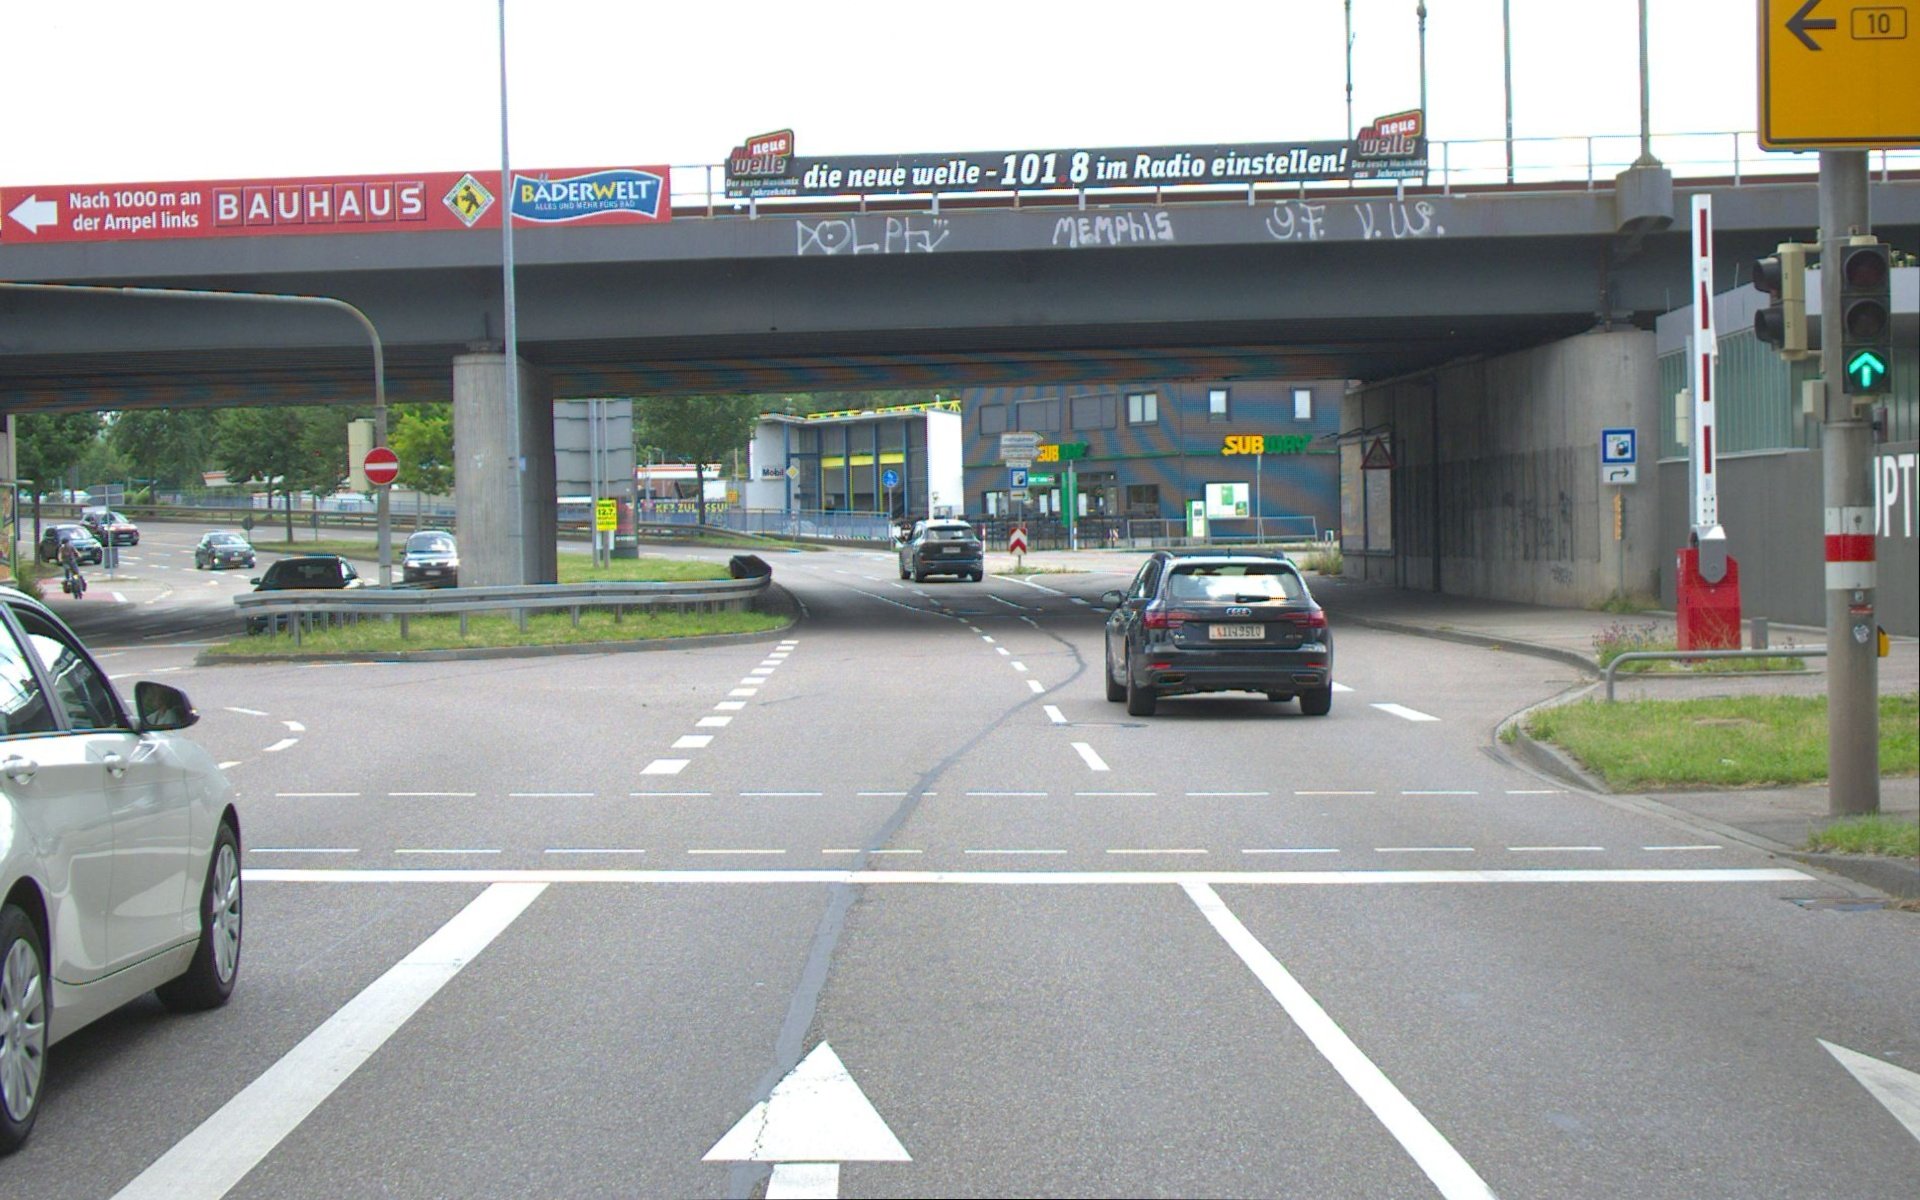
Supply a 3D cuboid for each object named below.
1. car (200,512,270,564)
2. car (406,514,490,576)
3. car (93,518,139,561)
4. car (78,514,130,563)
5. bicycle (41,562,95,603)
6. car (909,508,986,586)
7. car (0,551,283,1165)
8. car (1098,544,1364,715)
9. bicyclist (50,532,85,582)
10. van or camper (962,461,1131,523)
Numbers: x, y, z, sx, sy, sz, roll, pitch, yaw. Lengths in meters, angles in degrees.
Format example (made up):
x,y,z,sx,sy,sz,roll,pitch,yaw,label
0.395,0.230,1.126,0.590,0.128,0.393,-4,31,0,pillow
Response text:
x,y,z,sx,sy,sz,roll,pitch,yaw,label
-28.865,-2.476,136.917,1.993,2.007,4.337,-1,1,-2,car
-15.371,-1.667,103.423,1.993,1.753,4.718,-1,1,-3,car
-40.187,-2.891,163.815,1.993,2.007,4.338,-2,2,-12,car
-36.546,-2.636,146.659,1.993,2.007,4.338,-2,2,-15,car
-25.153,-0.492,96.978,0.680,1.139,2.283,0,1,7,bicycle
-0.359,-1.447,93.440,1.993,2.030,4.713,-2,1,0,car
-3.259,0.586,9.623,1.915,1.410,4.296,2,1,-1,car
2.396,0.214,31.520,1.993,1.385,4.576,0,2,-1,car
-25.160,-1.216,96.904,0.682,1.403,0.924,0,1,7,bicyclist
3.185,-3.914,125.518,6.229,2.165,2.126,0,1,-38,van or camper
